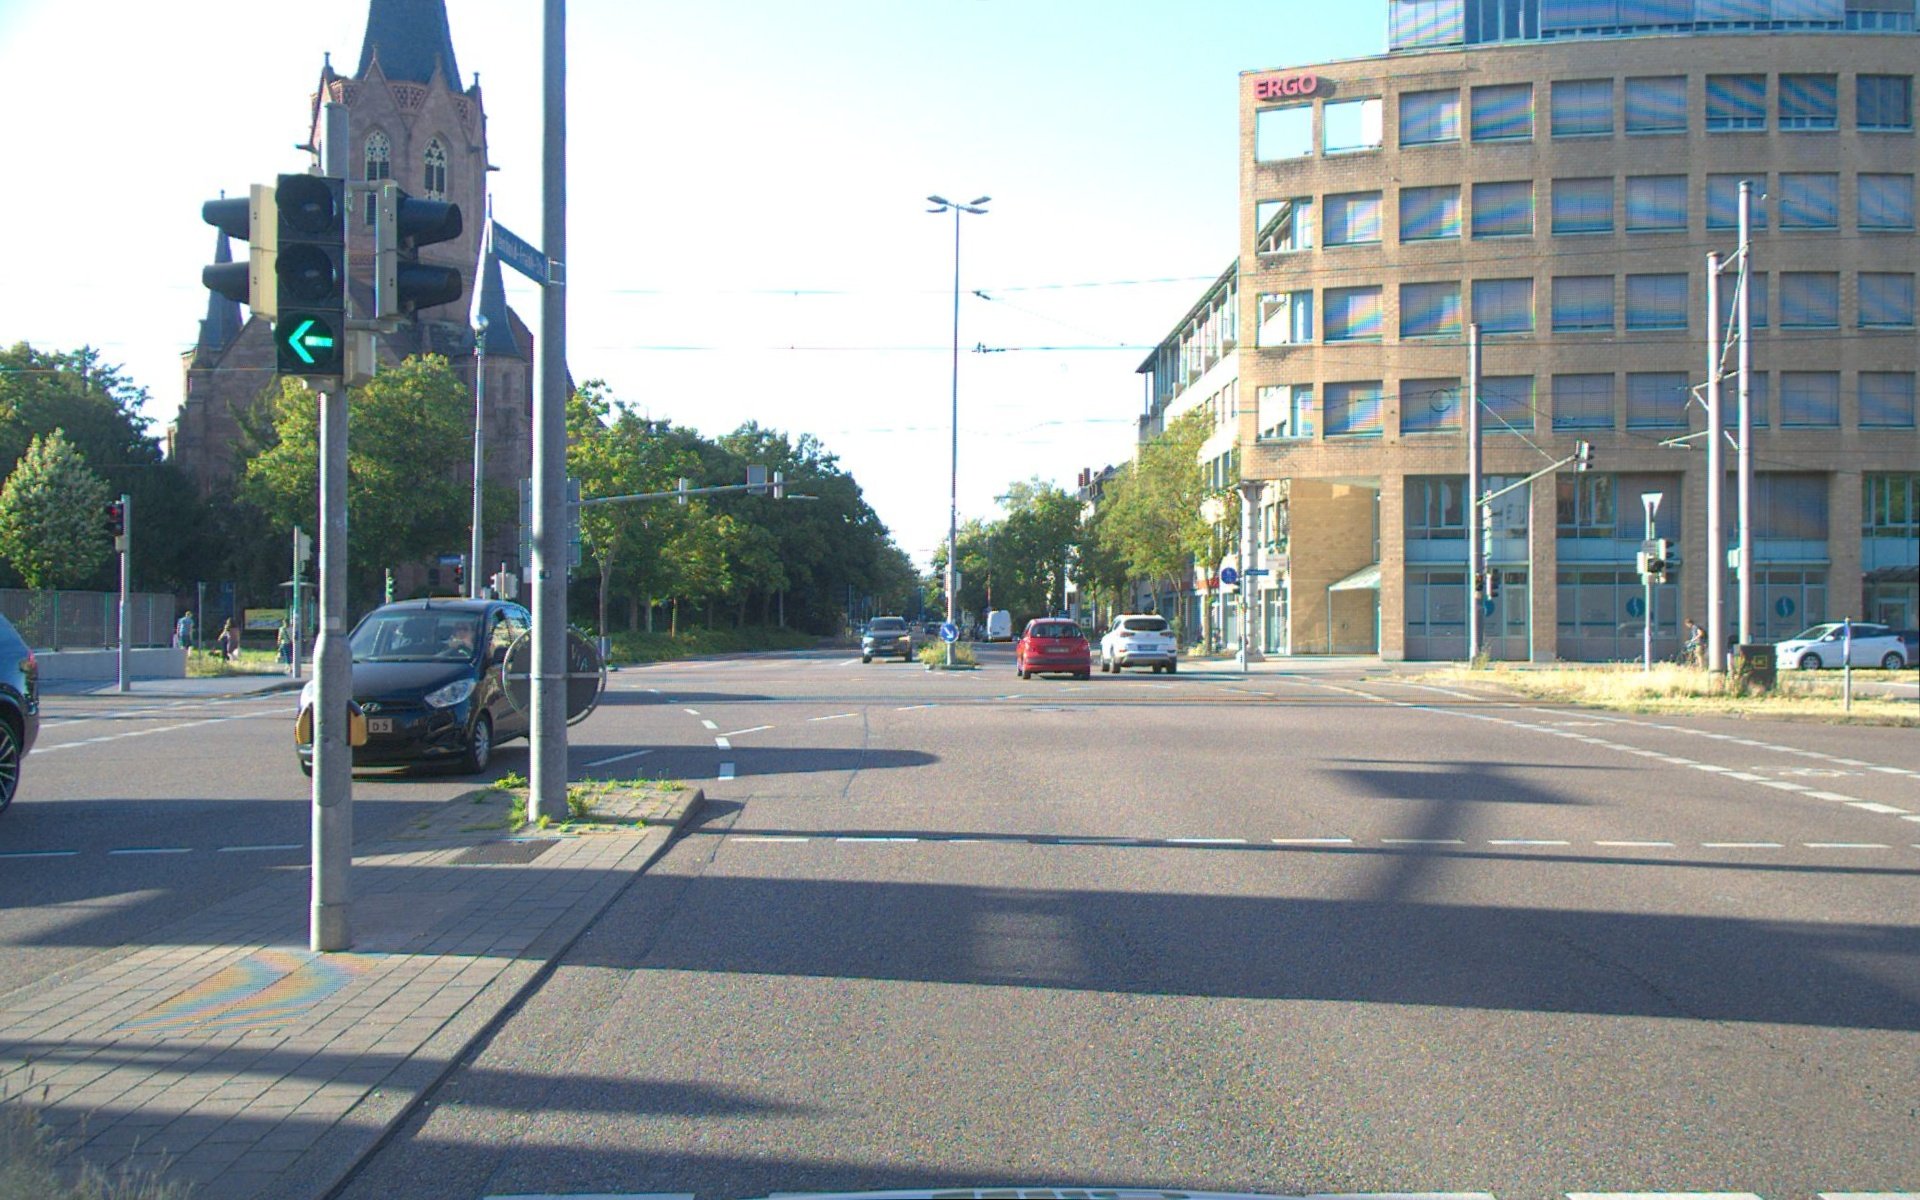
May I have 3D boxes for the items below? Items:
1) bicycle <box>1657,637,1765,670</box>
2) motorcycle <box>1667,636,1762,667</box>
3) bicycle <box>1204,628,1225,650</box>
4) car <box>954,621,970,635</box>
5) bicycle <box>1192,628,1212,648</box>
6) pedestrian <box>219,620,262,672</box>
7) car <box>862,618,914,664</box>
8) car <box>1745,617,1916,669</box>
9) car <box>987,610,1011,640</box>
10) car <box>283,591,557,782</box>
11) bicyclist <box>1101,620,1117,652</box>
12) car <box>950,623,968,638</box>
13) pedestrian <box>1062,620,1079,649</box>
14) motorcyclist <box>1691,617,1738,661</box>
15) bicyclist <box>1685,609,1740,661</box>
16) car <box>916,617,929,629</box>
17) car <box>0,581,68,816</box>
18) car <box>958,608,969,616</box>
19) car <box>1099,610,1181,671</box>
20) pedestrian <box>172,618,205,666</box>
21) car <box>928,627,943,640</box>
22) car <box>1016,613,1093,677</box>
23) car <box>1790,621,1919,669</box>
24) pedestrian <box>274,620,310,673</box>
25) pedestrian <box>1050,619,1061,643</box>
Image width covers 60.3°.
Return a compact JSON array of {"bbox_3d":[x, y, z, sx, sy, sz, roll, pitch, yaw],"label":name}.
[{"bbox_3d":[23.662,1.674,52.131,2.901,1.018,1.153,0,-1,-3],"label":"bicycle"},{"bbox_3d":[24.895,1.695,54.612,2.663,0.981,1.031,0,-1,-2],"label":"motorcycle"},{"bbox_3d":[11.994,1.827,78.049,0.633,1.012,2.080,0,-1,-1],"label":"bicycle"},{"bbox_3d":[0.159,2.689,159.940,1.562,1.289,3.266,0,0,0],"label":"car"},{"bbox_3d":[11.939,1.867,81.623,0.633,1.012,2.080,0,-1,-1],"label":"bicycle"},{"bbox_3d":[-24.290,1.537,55.875,0.993,1.726,0.844,1,-1,25],"label":"pedestrian"},{"bbox_3d":[-2.824,1.632,65.615,1.953,1.754,5.029,0,-2,-1],"label":"car"},{"bbox_3d":[26.061,1.274,49.603,4.079,1.518,1.994,0,-1,-3],"label":"car"},{"bbox_3d":[3.344,2.140,142.375,1.953,2.483,3.999,1,-1,0],"label":"car"},{"bbox_3d":[-4.984,0.733,15.726,1.546,1.571,3.475,-1,0,-2],"label":"car"},{"bbox_3d":[6.756,1.628,74.974,0.580,1.393,0.929,2,0,0],"label":"bicyclist"},{"bbox_3d":[-0.108,2.724,148.220,1.562,1.289,3.266,0,0,0],"label":"car"},{"bbox_3d":[7.612,2.356,114.119,1.085,2.011,1.161,0,-1,-1],"label":"pedestrian"},{"bbox_3d":[24.910,1.289,54.621,1.044,1.461,1.031,0,-1,-2],"label":"motorcyclist"},{"bbox_3d":[23.707,1.104,52.132,1.198,1.599,1.153,0,-1,-2],"label":"bicyclist"},{"bbox_3d":[-5.689,3.439,248.962,1.848,1.700,3.999,1,-1,0],"label":"car"},{"bbox_3d":[-7.975,0.750,10.747,1.779,1.741,4.785,-1,0,-1],"label":"car"},{"bbox_3d":[0.553,1.850,252.788,1.562,1.289,3.266,0,0,0],"label":"car"},{"bbox_3d":[5.176,1.155,48.090,1.877,1.635,4.268,1,-1,-1],"label":"car"},{"bbox_3d":[-28.631,1.561,61.397,0.837,1.726,1.002,2,-1,-41],"label":"pedestrian"},{"bbox_3d":[-2.589,3.480,173.305,1.562,1.289,3.266,0,0,0],"label":"car"},{"bbox_3d":[2.315,1.093,41.419,1.636,1.488,3.999,1,-1,-1],"label":"car"},{"bbox_3d":[30.188,1.473,54.763,4.390,1.564,1.986,0,-1,0],"label":"car"},{"bbox_3d":[-22.037,1.531,54.552,0.878,1.726,0.707,0,-1,37],"label":"pedestrian"},{"bbox_3d":[7.440,2.377,128.494,0.830,1.835,0.775,0,-1,-1],"label":"pedestrian"}]
